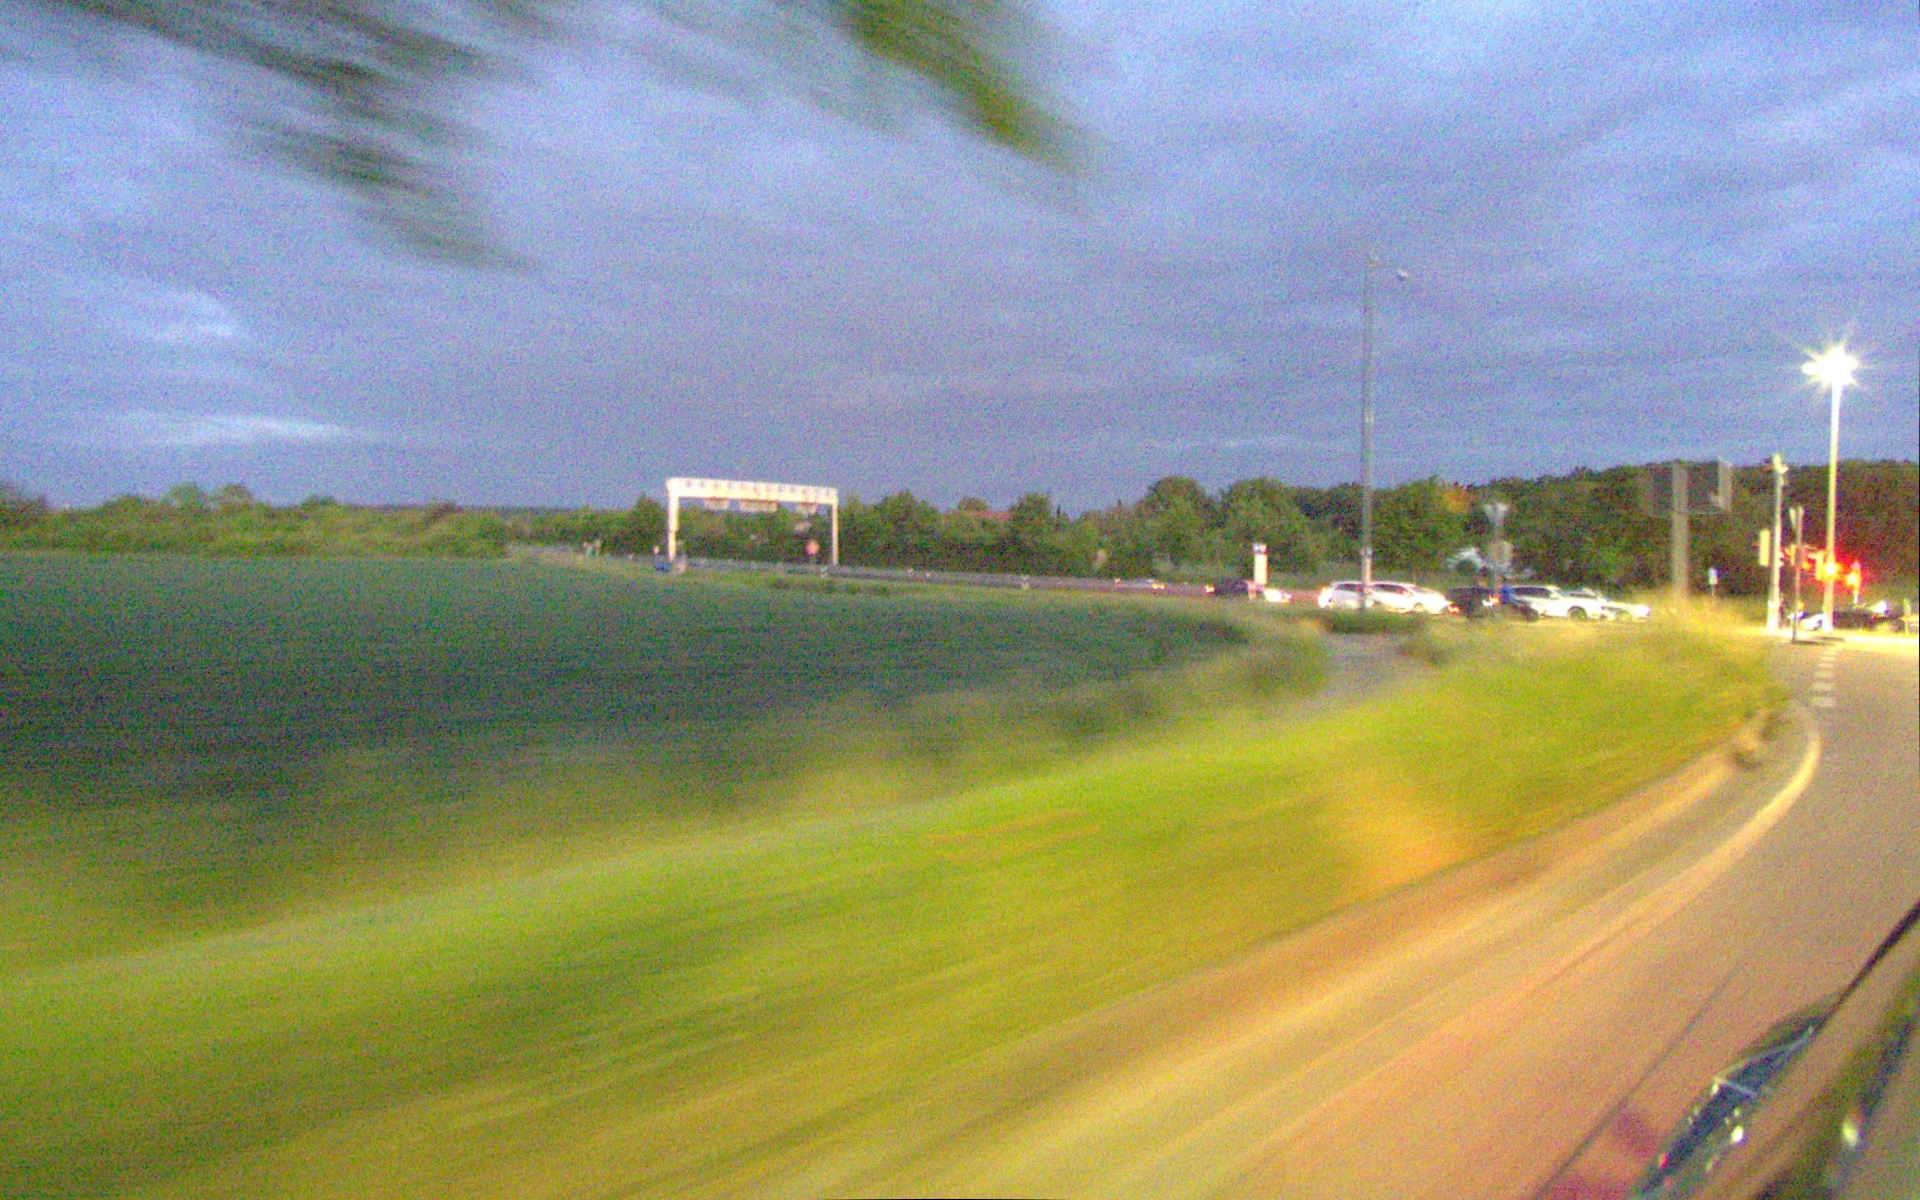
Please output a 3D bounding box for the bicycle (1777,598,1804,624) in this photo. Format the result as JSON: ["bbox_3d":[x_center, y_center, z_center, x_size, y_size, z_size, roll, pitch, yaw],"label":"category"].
[{"bbox_3d":[37.825,0.494,46.078,2.033,1.115,0.694,0,1,-43],"label":"bicycle"}]

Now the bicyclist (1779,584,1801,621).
[{"bbox_3d":[37.813,0.100,46.103,0.983,1.672,0.602,0,1,-43],"label":"bicyclist"}]

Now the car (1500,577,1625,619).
[{"bbox_3d":[27.012,-0.114,45.529,1.878,1.703,4.420,1,2,-36],"label":"car"}]

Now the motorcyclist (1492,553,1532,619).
[{"bbox_3d":[16.264,-0.415,29.834,0.860,1.830,0.910,-4,2,23],"label":"motorcyclist"}]

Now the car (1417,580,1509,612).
[{"bbox_3d":[26.098,-0.240,52.648,1.745,1.499,3.910,1,1,-36],"label":"car"}]

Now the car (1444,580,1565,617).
[{"bbox_3d":[23.745,-0.094,44.249,1.752,1.463,4.292,1,2,-35],"label":"car"}]

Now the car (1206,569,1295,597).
[{"bbox_3d":[15.498,-0.939,54.243,1.804,1.407,4.396,-1,3,-37],"label":"car"}]

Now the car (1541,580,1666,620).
[{"bbox_3d":[30.087,-0.027,47.451,1.823,1.653,4.585,0,2,-37],"label":"car"}]

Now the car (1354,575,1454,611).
[{"bbox_3d":[22.563,-0.379,51.544,1.718,1.646,4.363,0,2,-36],"label":"car"}]

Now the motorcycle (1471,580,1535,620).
[{"bbox_3d":[16.048,0.004,29.934,1.559,1.045,0.718,-4,2,24],"label":"motorcycle"}]

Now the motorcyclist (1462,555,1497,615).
[{"bbox_3d":[16.011,-0.464,31.222,0.779,1.780,0.681,-3,2,18],"label":"motorcyclist"}]

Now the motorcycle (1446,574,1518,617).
[{"bbox_3d":[16.080,-0.141,31.243,1.797,1.195,0.846,-3,2,18],"label":"motorcycle"}]

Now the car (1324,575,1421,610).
[{"bbox_3d":[19.985,-0.394,49.187,1.804,1.543,3.999,-1,3,-37],"label":"car"}]
